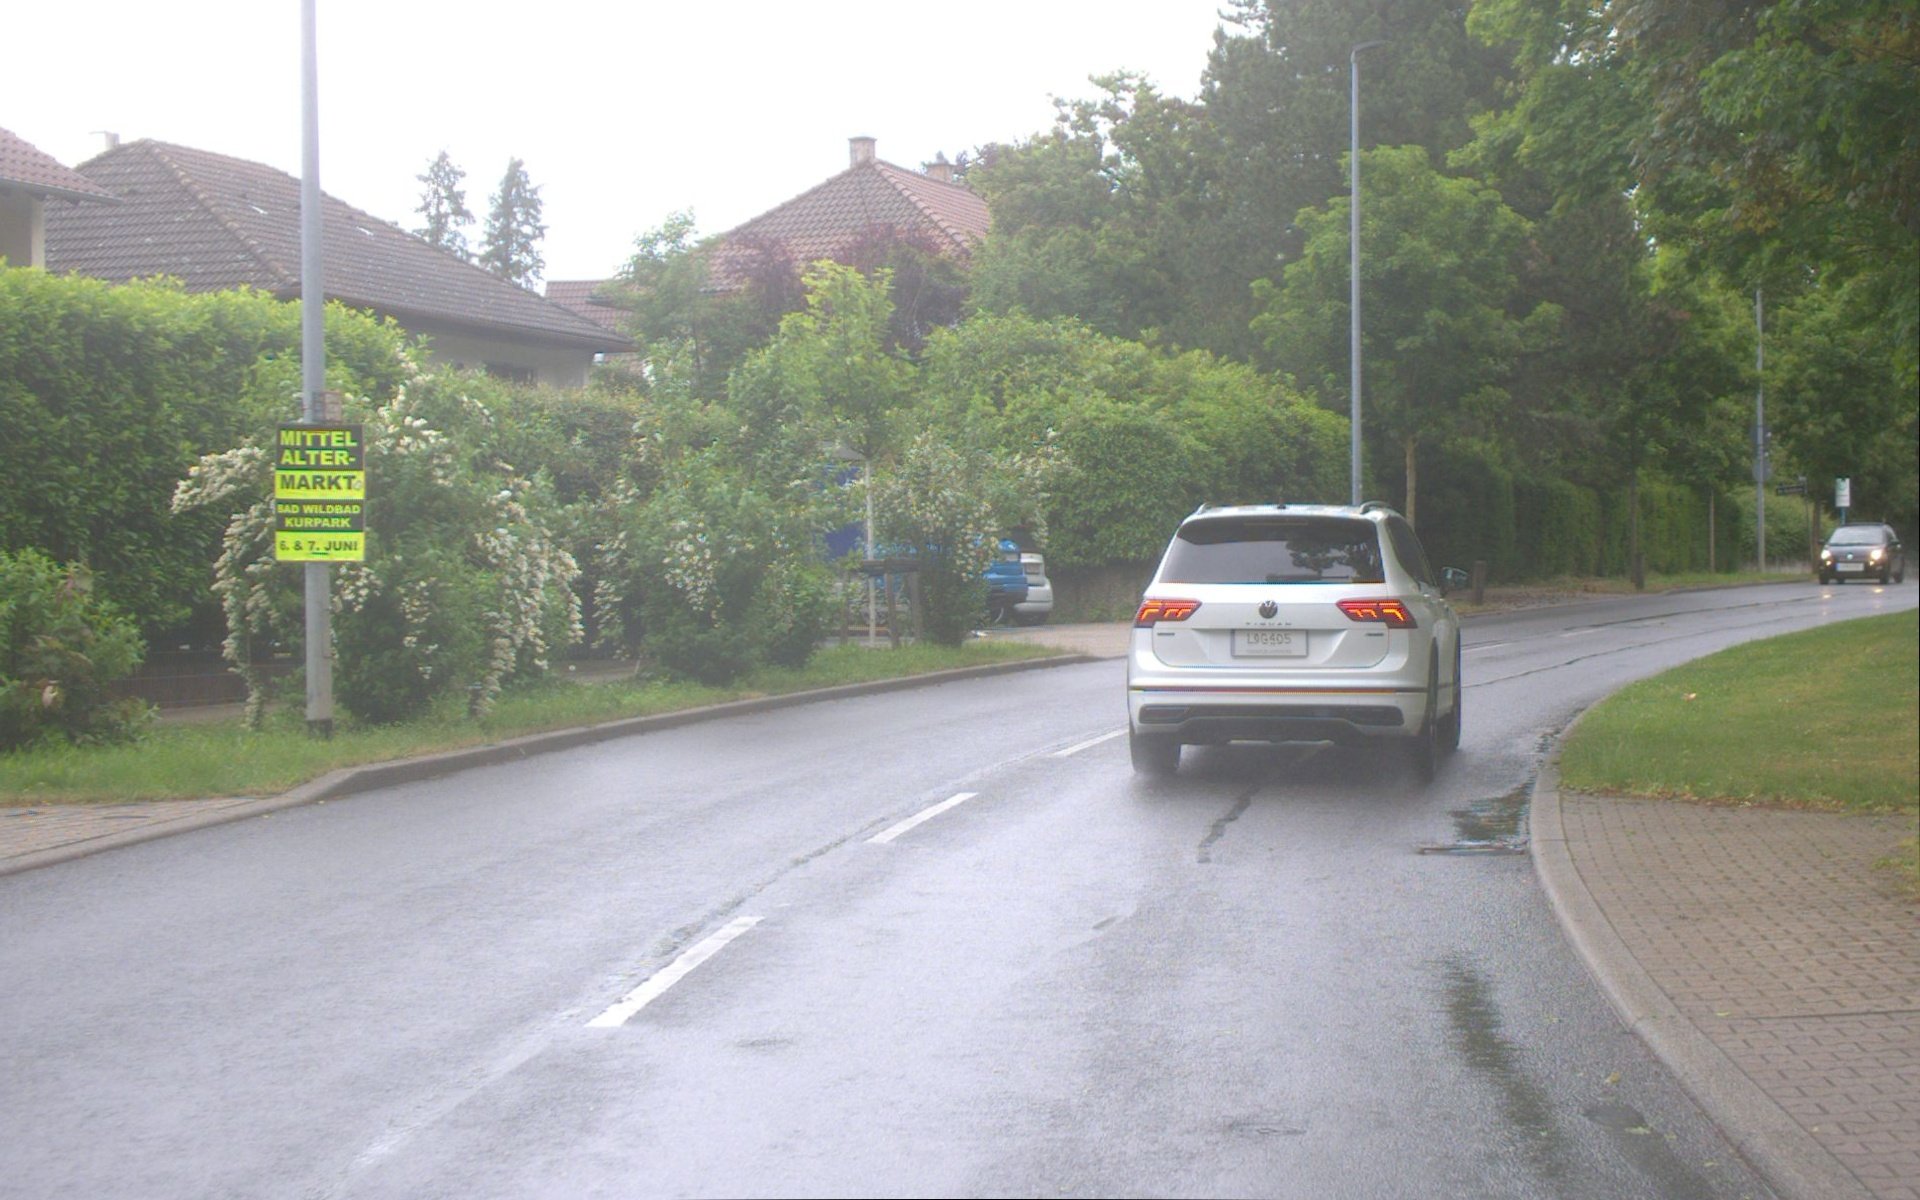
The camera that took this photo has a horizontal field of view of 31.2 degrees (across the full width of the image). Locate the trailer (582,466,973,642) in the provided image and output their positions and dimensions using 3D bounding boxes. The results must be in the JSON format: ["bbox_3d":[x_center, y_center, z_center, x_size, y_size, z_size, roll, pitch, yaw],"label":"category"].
[{"bbox_3d":[-2.321,-0.596,43.800,4.625,2.164,1.813,1,1,20],"label":"trailer"}]

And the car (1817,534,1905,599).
[{"bbox_3d":[21.849,-0.827,83.268,1.585,1.472,3.892,-1,1,22],"label":"car"}]

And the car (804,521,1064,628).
[{"bbox_3d":[-0.377,-0.383,50.129,3.406,1.514,1.729,1,1,20],"label":"car"}]

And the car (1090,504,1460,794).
[{"bbox_3d":[2.093,0.237,21.757,1.975,1.647,4.175,0,1,10],"label":"car"}]

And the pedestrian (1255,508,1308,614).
[{"bbox_3d":[5.032,-0.618,53.805,0.777,1.656,0.843,0,1,8],"label":"pedestrian"}]

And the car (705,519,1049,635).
[{"bbox_3d":[-1.125,-0.335,46.963,4.242,1.534,2.050,1,1,20],"label":"car"}]
